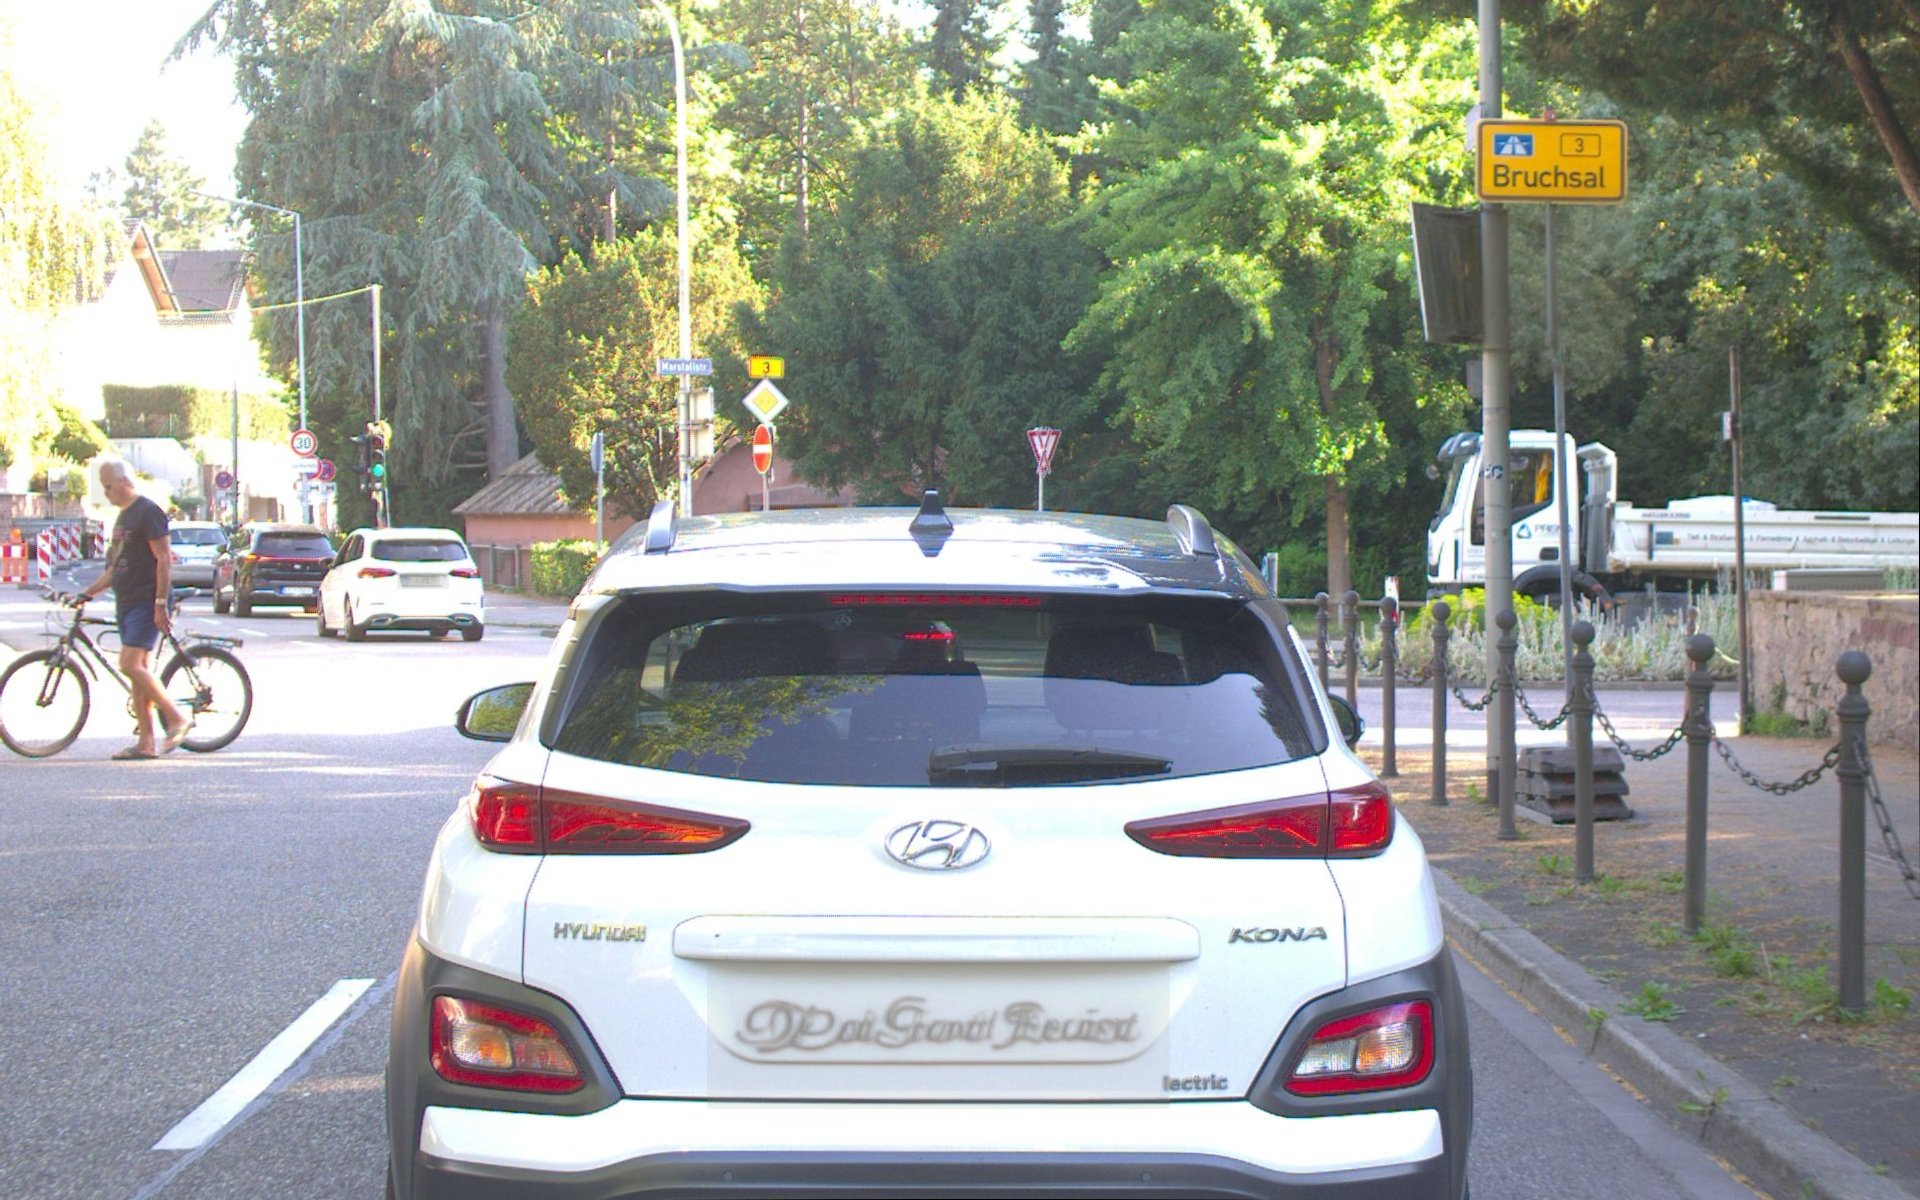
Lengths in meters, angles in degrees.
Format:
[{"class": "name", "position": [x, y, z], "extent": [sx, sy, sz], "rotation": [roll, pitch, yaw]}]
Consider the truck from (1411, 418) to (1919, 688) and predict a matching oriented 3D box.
[{"class": "truck", "position": [8.659, -0.544, 39.893], "extent": [6.588, 2.885, 2.433], "rotation": [2, 1, 5]}]

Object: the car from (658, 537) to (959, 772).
[{"class": "car", "position": [-1.145, 0.310, 23.942], "extent": [1.707, 1.429, 4.366], "rotation": [2, 1, -7]}]

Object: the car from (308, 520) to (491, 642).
[{"class": "car", "position": [-7.692, -0.289, 46.909], "extent": [1.805, 1.532, 4.001], "rotation": [1, 1, -18]}]

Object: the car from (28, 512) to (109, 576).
[{"class": "car", "position": [-24.494, -1.551, 94.416], "extent": [1.831, 1.656, 4.001], "rotation": [1, 1, -19]}]

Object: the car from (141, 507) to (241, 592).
[{"class": "car", "position": [-16.640, -1.119, 74.269], "extent": [1.831, 1.735, 4.001], "rotation": [1, 1, -16]}]

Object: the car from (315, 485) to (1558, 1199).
[{"class": "car", "position": [-0.071, 0.597, 7.120], "extent": [1.820, 1.568, 4.000], "rotation": [2, 1, -1]}]

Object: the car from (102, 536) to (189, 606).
[{"class": "car", "position": [-20.701, -0.750, 87.249], "extent": [1.831, 1.656, 4.001], "rotation": [1, 1, -17]}]

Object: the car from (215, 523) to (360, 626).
[{"class": "car", "position": [-11.641, -0.460, 59.320], "extent": [1.831, 1.656, 4.001], "rotation": [1, 1, -20]}]

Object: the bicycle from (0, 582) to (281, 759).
[{"class": "bicycle", "position": [-5.200, 0.429, 21.418], "extent": [1.812, 1.039, 0.561], "rotation": [1, 3, -37]}]

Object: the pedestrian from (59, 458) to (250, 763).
[{"class": "pedestrian", "position": [-4.937, 0.059, 21.081], "extent": [0.940, 1.820, 0.554], "rotation": [1, 2, -38]}]
